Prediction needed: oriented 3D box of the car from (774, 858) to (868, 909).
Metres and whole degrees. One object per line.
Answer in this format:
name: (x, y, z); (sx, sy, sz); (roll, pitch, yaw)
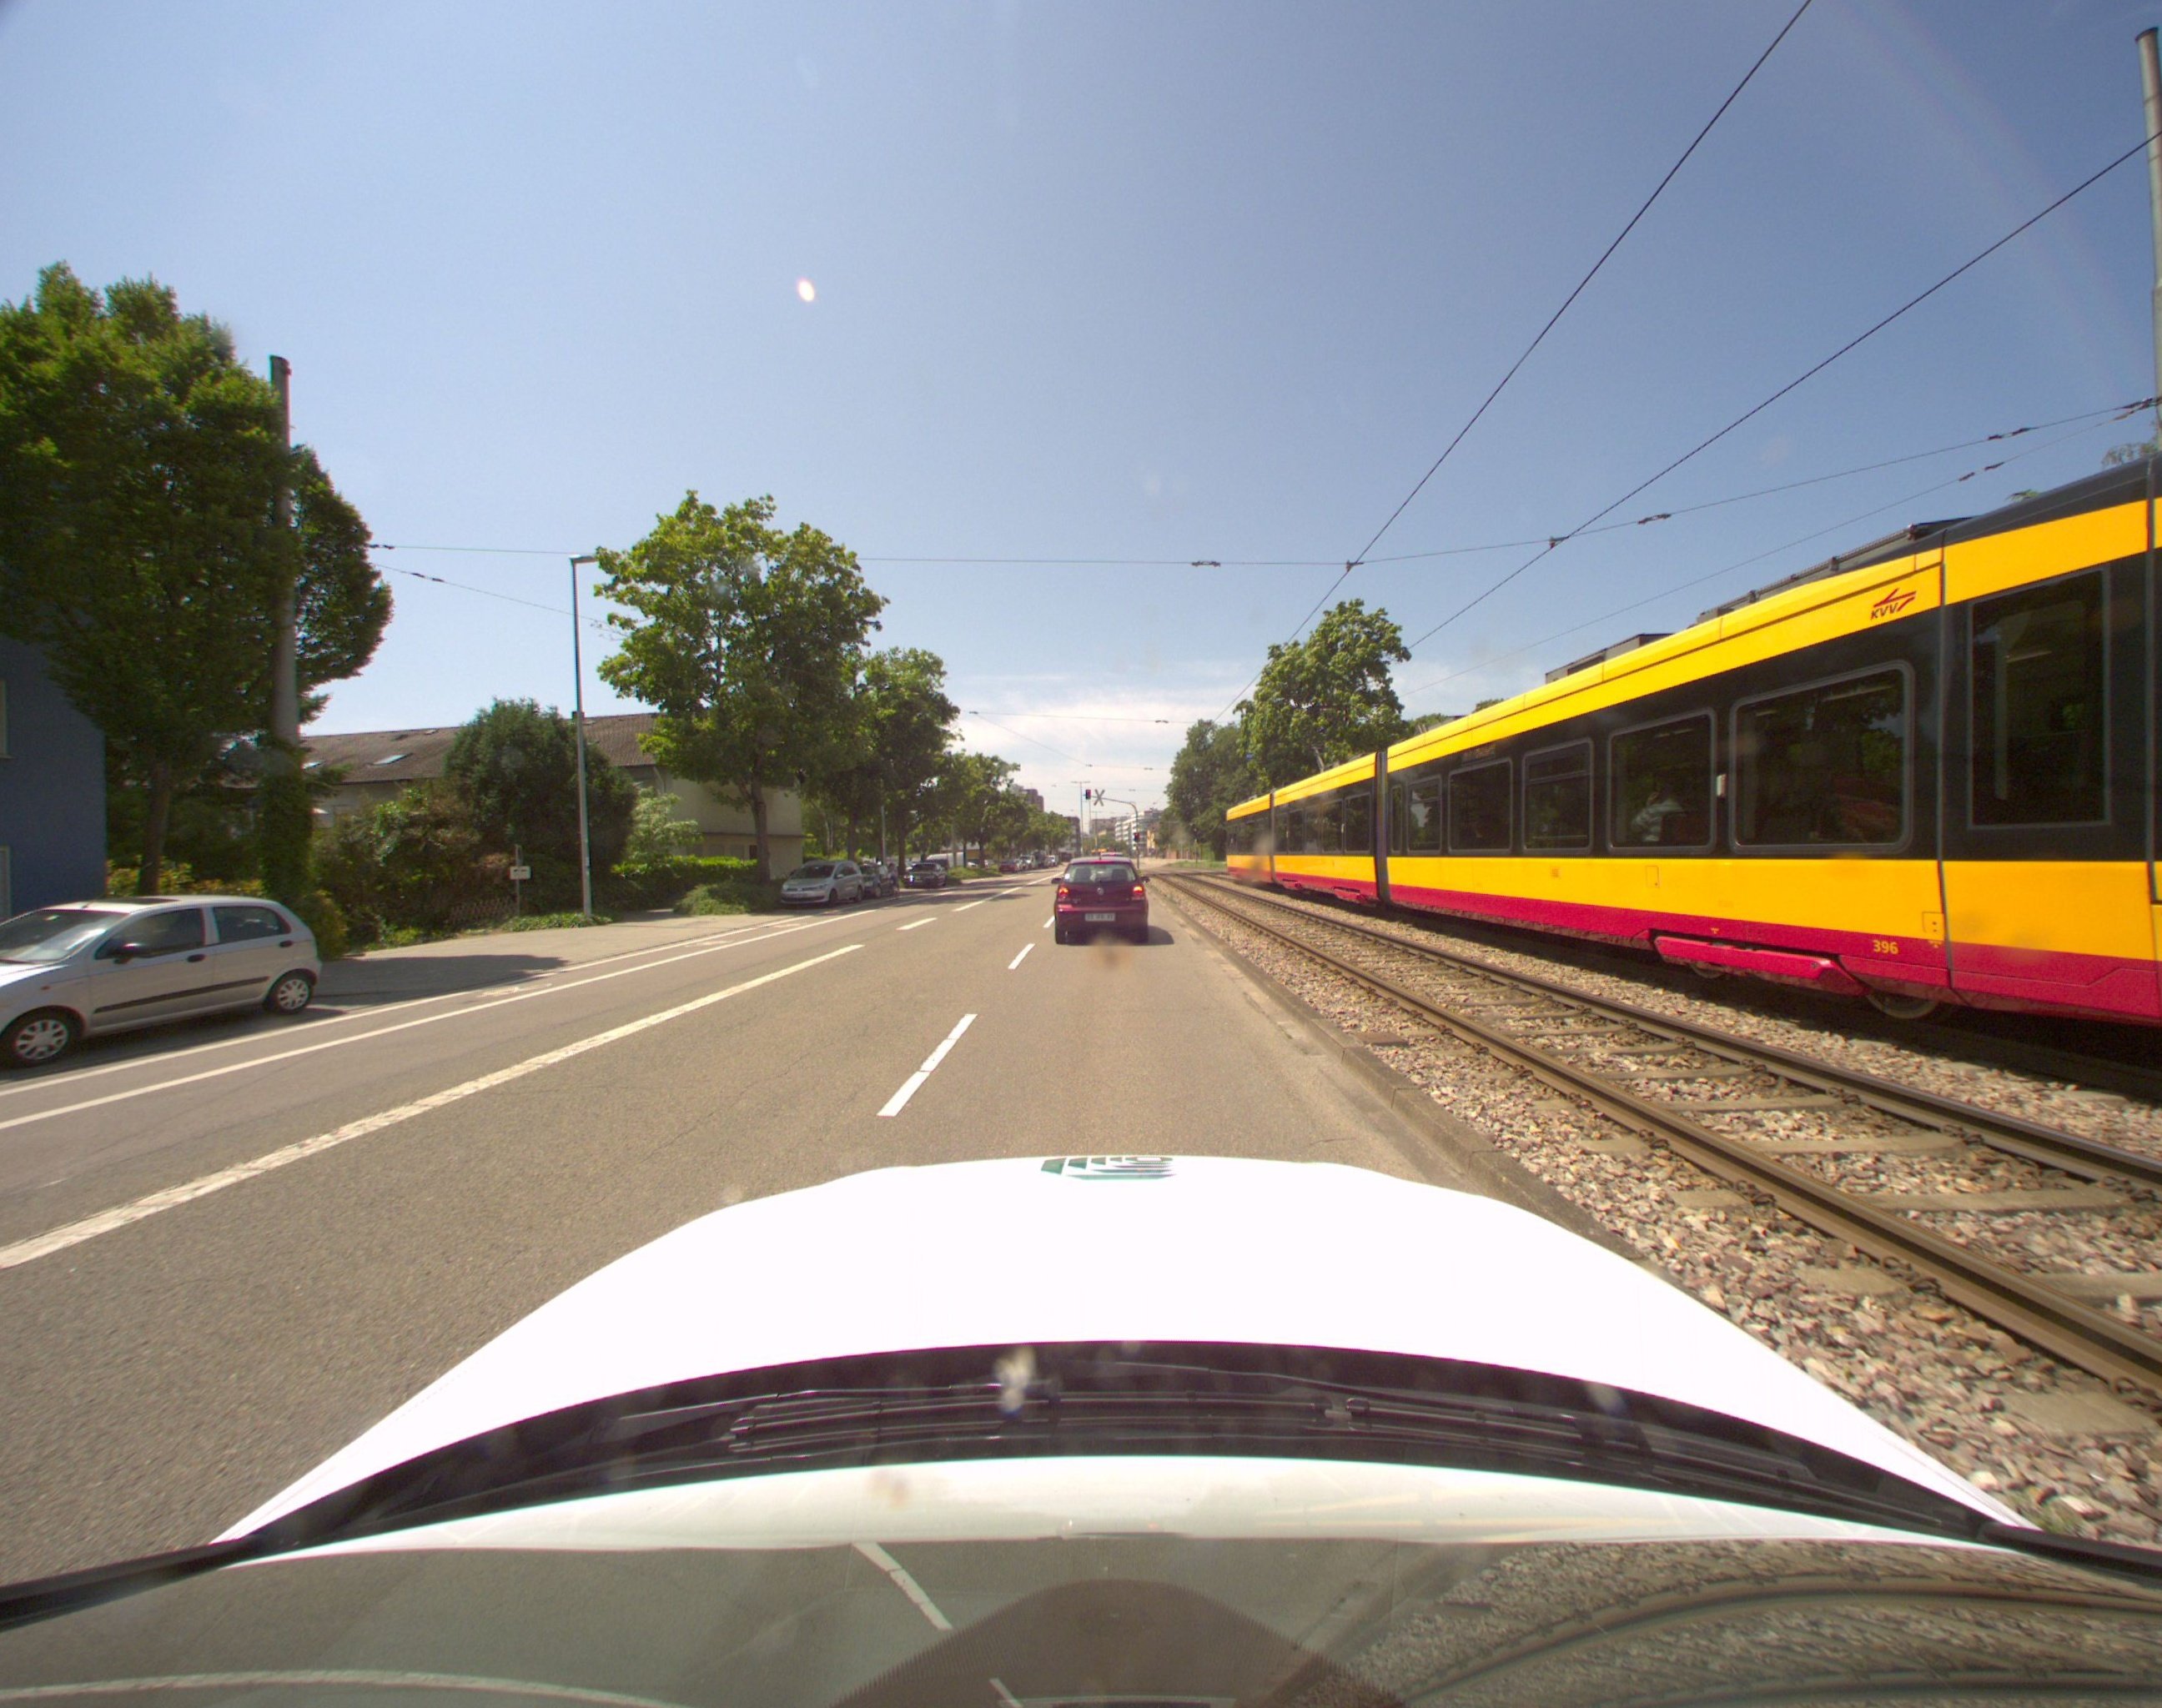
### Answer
car: (-9.680, 1.046, 30.782); (1.866, 1.664, 4.782); (-2, 0, 1)

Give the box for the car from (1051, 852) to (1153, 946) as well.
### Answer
car: (0.386, 0.736, 15.348); (1.666, 1.521, 4.001); (-1, 0, 1)

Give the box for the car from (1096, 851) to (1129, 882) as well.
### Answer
car: (1.718, 0.654, 45.543); (1.770, 1.647, 4.001); (-1, 0, 1)

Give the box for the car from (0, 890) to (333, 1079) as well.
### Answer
car: (-10.566, 1.260, 8.826); (1.587, 1.495, 3.450); (3, 0, 2)

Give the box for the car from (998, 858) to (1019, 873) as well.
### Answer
car: (-7.582, 1.231, 85.531); (1.655, 1.497, 4.004); (0, -1, 4)

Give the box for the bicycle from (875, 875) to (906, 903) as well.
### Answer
bicycle: (-7.674, 1.401, 32.938); (0.699, 0.951, 2.242); (-4, 1, -1)

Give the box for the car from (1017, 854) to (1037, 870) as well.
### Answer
car: (-6.733, 1.027, 102.314); (1.774, 1.882, 4.791); (0, -1, 5)

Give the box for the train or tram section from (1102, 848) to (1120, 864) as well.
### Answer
train or tram section: (6.886, 0.350, 187.990); (2.736, 3.609, 12.847); (0, 0, -5)

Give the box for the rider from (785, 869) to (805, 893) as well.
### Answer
rider: (-17.155, 1.587, 48.833); (0.820, 1.374, 0.814); (-2, 0, 10)

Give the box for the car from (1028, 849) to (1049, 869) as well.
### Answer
car: (-6.007, 0.727, 115.353); (2.352, 2.692, 5.311); (0, -1, 3)

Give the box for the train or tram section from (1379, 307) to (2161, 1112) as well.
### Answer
train or tram section: (6.928, -0.721, 9.027); (3.015, 3.798, 13.101); (-2, 0, 3)

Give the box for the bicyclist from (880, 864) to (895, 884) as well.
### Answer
bicyclist: (-13.958, 1.430, 58.680); (0.805, 1.374, 0.829); (0, -1, 5)

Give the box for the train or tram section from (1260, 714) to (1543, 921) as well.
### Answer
train or tram section: (7.500, -0.696, 21.989); (3.016, 3.798, 13.100); (-2, 0, 3)

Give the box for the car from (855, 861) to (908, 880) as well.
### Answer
car: (-18.585, 1.511, 76.027); (4.330, 1.585, 1.912); (-3, 0, -1)

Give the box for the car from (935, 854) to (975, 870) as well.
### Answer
car: (-17.509, 1.099, 113.650); (5.076, 2.244, 2.380); (0, -1, 2)

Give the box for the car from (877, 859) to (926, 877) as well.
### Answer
car: (-17.858, 1.427, 81.112); (4.320, 1.585, 1.917); (-3, 0, 7)

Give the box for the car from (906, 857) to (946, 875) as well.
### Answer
car: (-17.443, 1.360, 91.856); (3.973, 1.746, 1.998); (-3, 0, 0)

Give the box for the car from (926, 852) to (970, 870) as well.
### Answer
car: (-16.739, 0.920, 102.403); (5.076, 2.244, 2.380); (0, -1, 2)

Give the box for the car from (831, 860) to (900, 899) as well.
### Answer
car: (-9.500, 1.096, 36.237); (1.812, 1.564, 4.182); (-1, 0, 1)

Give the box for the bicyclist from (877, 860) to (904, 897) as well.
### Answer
bicyclist: (-7.702, 0.983, 32.934); (0.733, 1.431, 1.124); (-5, 0, -2)

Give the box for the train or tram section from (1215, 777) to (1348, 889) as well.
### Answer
train or tram section: (8.031, -0.740, 34.736); (3.016, 3.798, 12.769); (-2, 0, 3)

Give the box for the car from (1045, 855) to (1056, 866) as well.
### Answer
car: (-5.227, 1.135, 138.629); (1.771, 1.828, 3.995); (0, -1, -3)

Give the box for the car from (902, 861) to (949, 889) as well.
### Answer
car: (-9.049, 1.191, 47.789); (1.812, 1.476, 4.450); (-1, 0, 1)
